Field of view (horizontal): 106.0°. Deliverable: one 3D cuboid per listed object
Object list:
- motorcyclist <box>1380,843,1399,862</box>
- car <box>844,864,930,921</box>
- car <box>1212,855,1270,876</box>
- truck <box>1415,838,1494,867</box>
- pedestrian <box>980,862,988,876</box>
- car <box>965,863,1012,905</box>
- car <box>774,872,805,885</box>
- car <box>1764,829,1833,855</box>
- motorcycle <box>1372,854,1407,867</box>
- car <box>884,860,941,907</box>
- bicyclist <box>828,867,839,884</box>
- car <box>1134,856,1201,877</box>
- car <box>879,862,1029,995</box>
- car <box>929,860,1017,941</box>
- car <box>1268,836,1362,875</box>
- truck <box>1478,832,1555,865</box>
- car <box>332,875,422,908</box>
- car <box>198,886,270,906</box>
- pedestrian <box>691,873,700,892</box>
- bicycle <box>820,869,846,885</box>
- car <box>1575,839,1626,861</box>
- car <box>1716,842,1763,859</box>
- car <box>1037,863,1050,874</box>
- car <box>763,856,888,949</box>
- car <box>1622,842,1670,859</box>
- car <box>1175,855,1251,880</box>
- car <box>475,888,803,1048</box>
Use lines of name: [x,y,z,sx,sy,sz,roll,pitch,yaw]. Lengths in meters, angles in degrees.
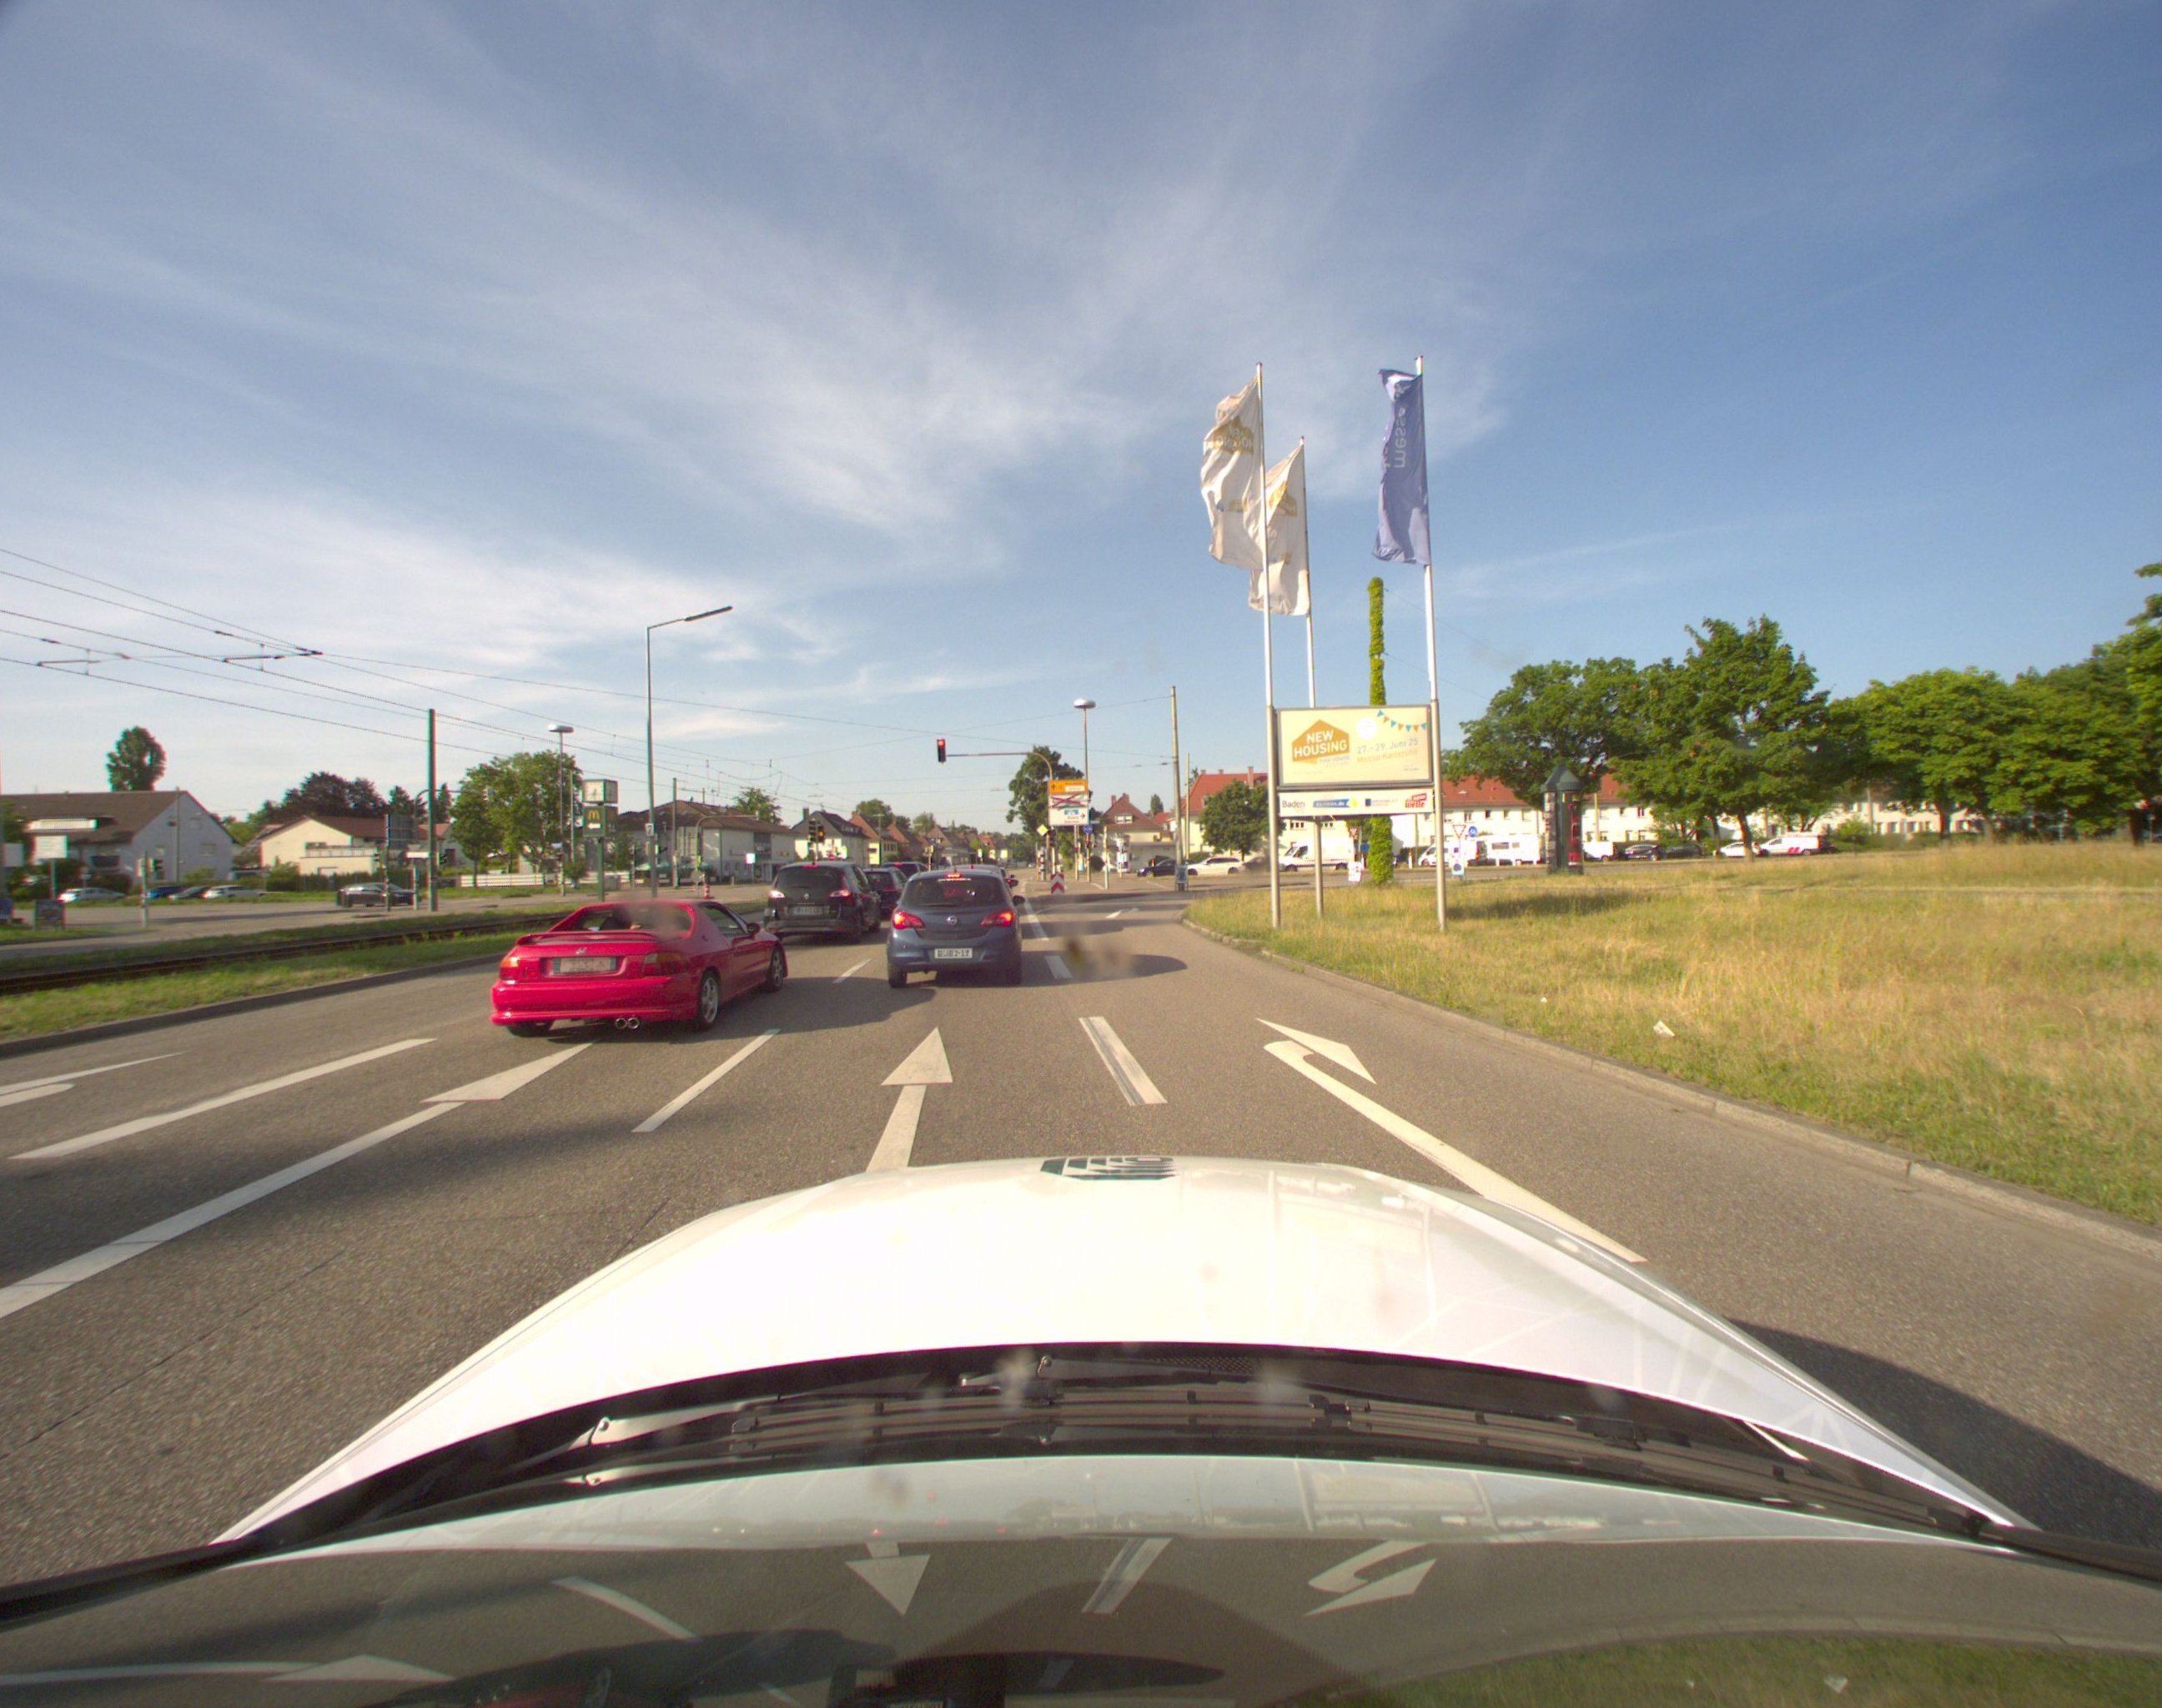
motorcyclist: [22.159,-0.083,58.509,1.064,1.352,0.678,-2,-1,-5]
car: [-5.706,1.068,24.467,1.696,1.508,4.548,-1,-1,-3]
car: [12.186,0.884,62.138,3.978,1.453,1.714,-2,-1,-4]
truck: [34.671,-0.114,75.727,2.289,2.524,6.284,-1,0,-39]
pedestrian: [-10.807,1.673,90.958,0.751,1.499,0.826,0,-2,-2]
car: [-3.536,1.114,31.467,1.654,1.443,4.005,-2,0,-6]
car: [-31.057,2.619,86.792,1.657,1.346,4.078,-2,-2,2]
car: [69.973,-1.153,79.538,4.915,2.232,2.013,-3,-1,40]
motorcycle: [22.180,0.494,58.506,2.267,0.866,0.689,-2,-1,-5]
car: [-6.469,1.089,31.641,1.504,1.651,4.736,-2,0,-4]
bicyclist: [-21.500,1.859,70.796,0.885,1.431,1.131,0,-2,-13]
car: [6.540,0.970,61.570,4.813,1.411,1.714,-2,-1,-4]
car: [-1.733,0.906,11.857,1.739,1.505,4.213,-1,0,-6]
car: [-2.386,0.951,18.388,1.704,1.552,3.968,-2,-1,-6]
car: [16.894,0.105,58.903,6.196,2.583,1.997,-2,-1,-4]
truck: [40.879,-0.500,76.556,6.000,2.854,1.908,-3,-1,40]
car: [-42.669,2.270,49.415,3.977,1.793,1.518,-2,-1,-3]
car: [-76.075,3.767,73.232,1.985,1.684,4.222,0,-1,3]
pedestrian: [-33.309,2.439,70.391,0.511,1.599,0.539,-2,-1,-5]
bicycle: [-21.546,2.014,70.789,2.076,1.348,1.103,0,-2,-13]
car: [49.932,-0.386,78.340,3.859,1.920,1.908,-3,-1,40]
car: [63.788,-0.362,78.904,3.390,1.514,1.907,-3,-1,44]
car: [-4.843,1.856,105.392,1.671,1.398,3.995,0,-1,-3]
car: [-5.227,0.916,17.197,1.762,1.671,4.074,-1,-1,-7]
car: [53.939,-0.335,77.785,3.455,1.514,1.907,-3,-1,44]
car: [9.409,0.946,58.265,5.084,1.563,1.837,-2,-1,-4]
car: [-4.348,1.026,8.759,1.729,1.206,3.839,0,-1,-6]
